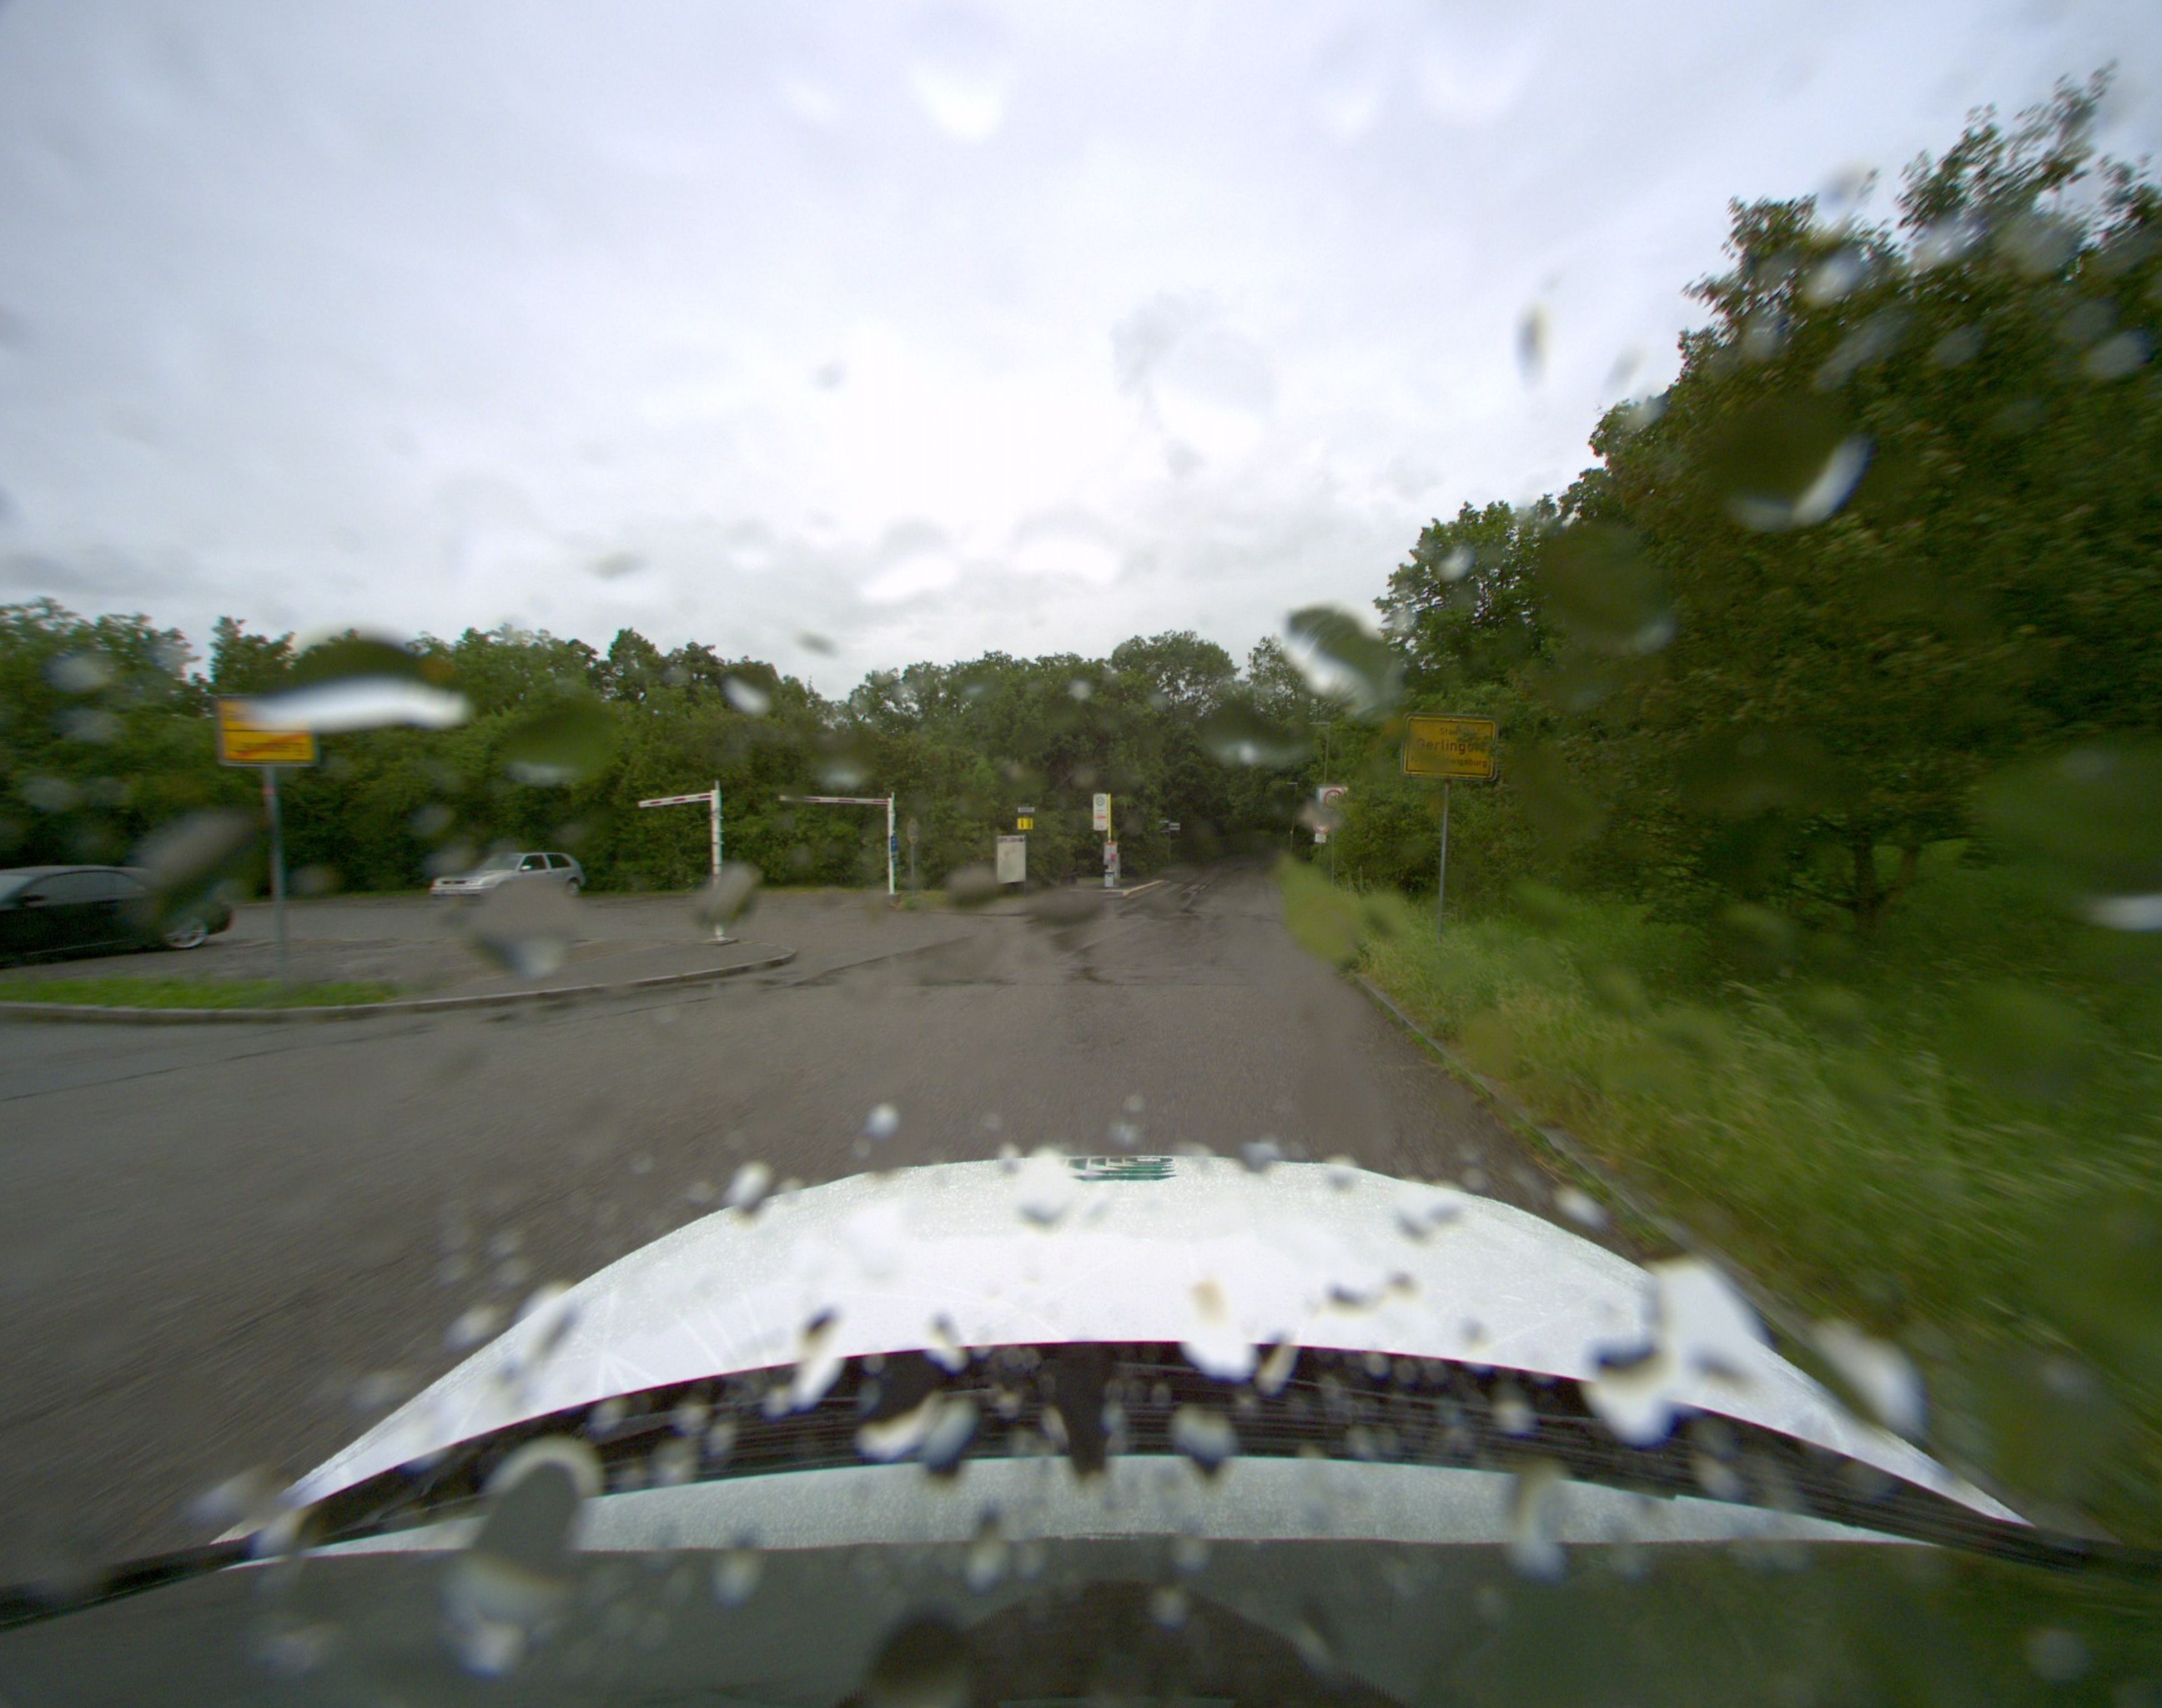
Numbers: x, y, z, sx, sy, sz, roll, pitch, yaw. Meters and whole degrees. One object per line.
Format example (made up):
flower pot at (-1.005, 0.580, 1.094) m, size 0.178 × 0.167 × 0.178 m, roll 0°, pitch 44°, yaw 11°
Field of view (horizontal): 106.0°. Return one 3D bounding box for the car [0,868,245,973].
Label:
car at (-15.040, 0.915, 11.650) m, size 1.612 × 1.355 × 4.195 m, roll -1°, pitch -1°, yaw 5°

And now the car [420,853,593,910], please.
car at (-16.143, 0.720, 23.187) m, size 1.593 × 1.355 × 4.132 m, roll -1°, pitch 1°, yaw 8°
